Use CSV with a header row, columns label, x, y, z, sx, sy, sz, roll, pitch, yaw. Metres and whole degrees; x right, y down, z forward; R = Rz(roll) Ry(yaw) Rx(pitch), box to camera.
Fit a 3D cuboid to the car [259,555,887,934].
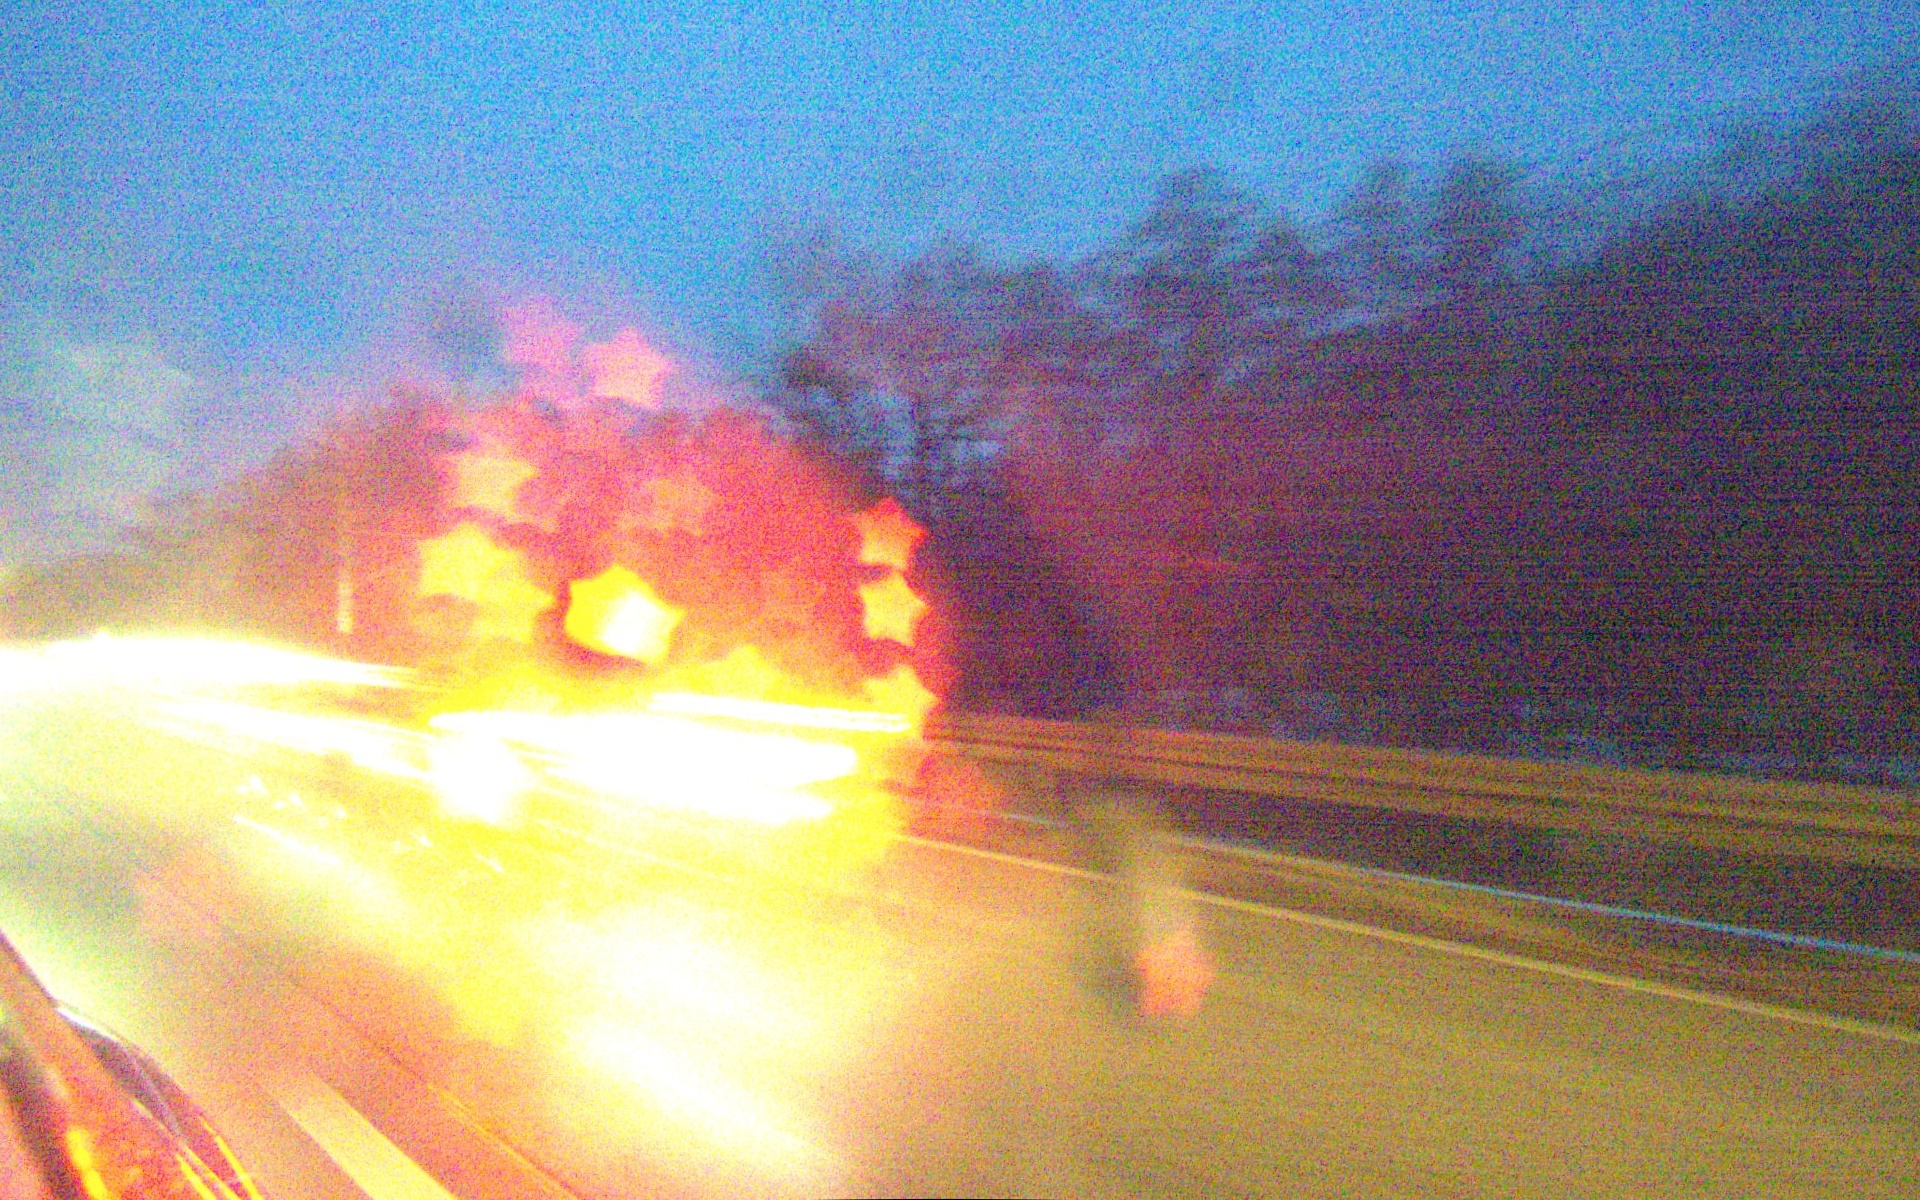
label,x,y,z,sx,sy,sz,roll,pitch,yaw
car,-2.406,0.674,5.874,3.790,1.467,1.809,-3,-4,40
